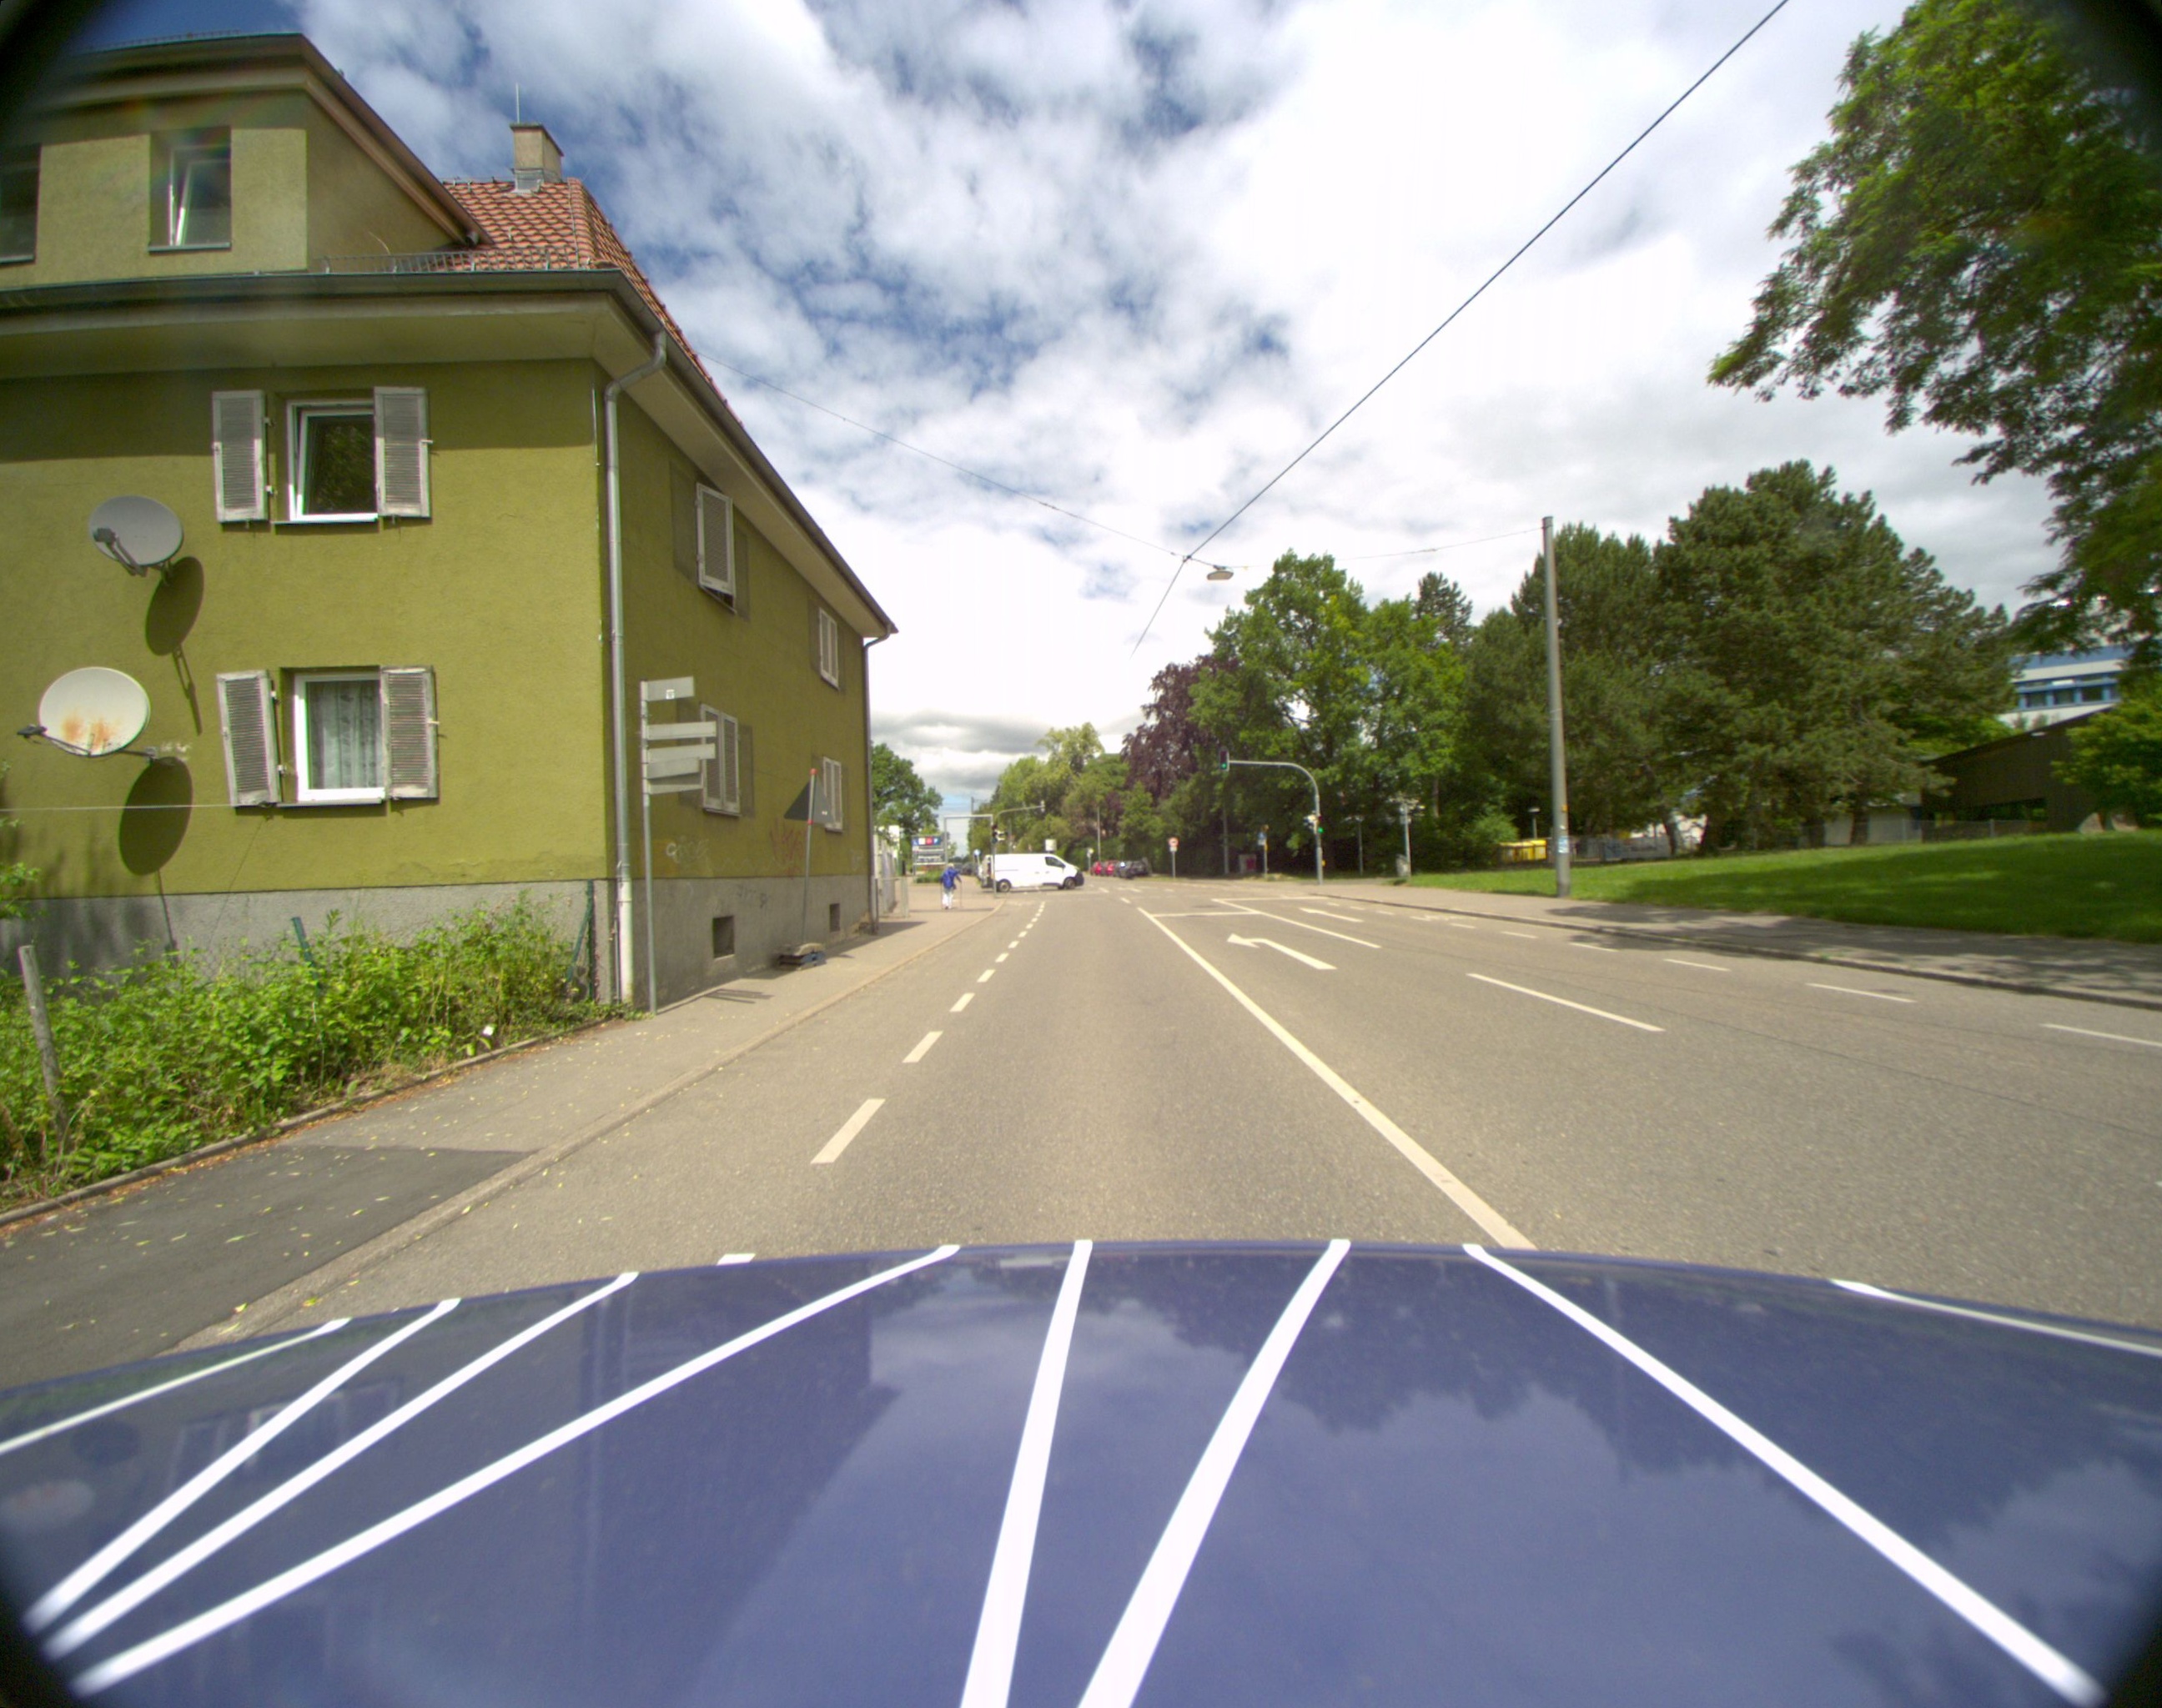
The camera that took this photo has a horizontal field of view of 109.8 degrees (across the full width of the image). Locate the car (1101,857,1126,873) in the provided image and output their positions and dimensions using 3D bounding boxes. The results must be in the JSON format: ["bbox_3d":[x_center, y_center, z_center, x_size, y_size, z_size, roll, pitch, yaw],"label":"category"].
[{"bbox_3d":[3.059,1.041,72.648,1.524,1.469,3.321,-3,0,-12],"label":"car"}]

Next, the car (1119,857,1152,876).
[{"bbox_3d":[4.518,1.023,63.578,1.688,1.407,4.398,-3,1,-9],"label":"car"}]

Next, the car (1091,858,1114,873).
[{"bbox_3d":[2.225,1.134,77.784,1.531,1.358,3.371,-3,1,-12],"label":"car"}]

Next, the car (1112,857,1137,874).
[{"bbox_3d":[3.899,1.039,68.140,1.560,1.404,3.191,-3,1,-9],"label":"car"}]

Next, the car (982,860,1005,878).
[{"bbox_3d":[-7.468,1.255,64.759,1.796,1.522,3.918,0,0,-9],"label":"car"}]

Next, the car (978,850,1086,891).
[{"bbox_3d":[-2.609,0.829,40.307,5.354,2.011,1.997,-1,0,-16],"label":"car"}]

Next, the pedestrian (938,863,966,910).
[{"bbox_3d":[-4.454,1.121,26.323,0.826,1.563,0.987,-1,0,-4],"label":"pedestrian"}]

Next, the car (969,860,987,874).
[{"bbox_3d":[-12.546,1.588,92.458,1.707,1.522,3.995,-3,0,-15],"label":"car"}]
